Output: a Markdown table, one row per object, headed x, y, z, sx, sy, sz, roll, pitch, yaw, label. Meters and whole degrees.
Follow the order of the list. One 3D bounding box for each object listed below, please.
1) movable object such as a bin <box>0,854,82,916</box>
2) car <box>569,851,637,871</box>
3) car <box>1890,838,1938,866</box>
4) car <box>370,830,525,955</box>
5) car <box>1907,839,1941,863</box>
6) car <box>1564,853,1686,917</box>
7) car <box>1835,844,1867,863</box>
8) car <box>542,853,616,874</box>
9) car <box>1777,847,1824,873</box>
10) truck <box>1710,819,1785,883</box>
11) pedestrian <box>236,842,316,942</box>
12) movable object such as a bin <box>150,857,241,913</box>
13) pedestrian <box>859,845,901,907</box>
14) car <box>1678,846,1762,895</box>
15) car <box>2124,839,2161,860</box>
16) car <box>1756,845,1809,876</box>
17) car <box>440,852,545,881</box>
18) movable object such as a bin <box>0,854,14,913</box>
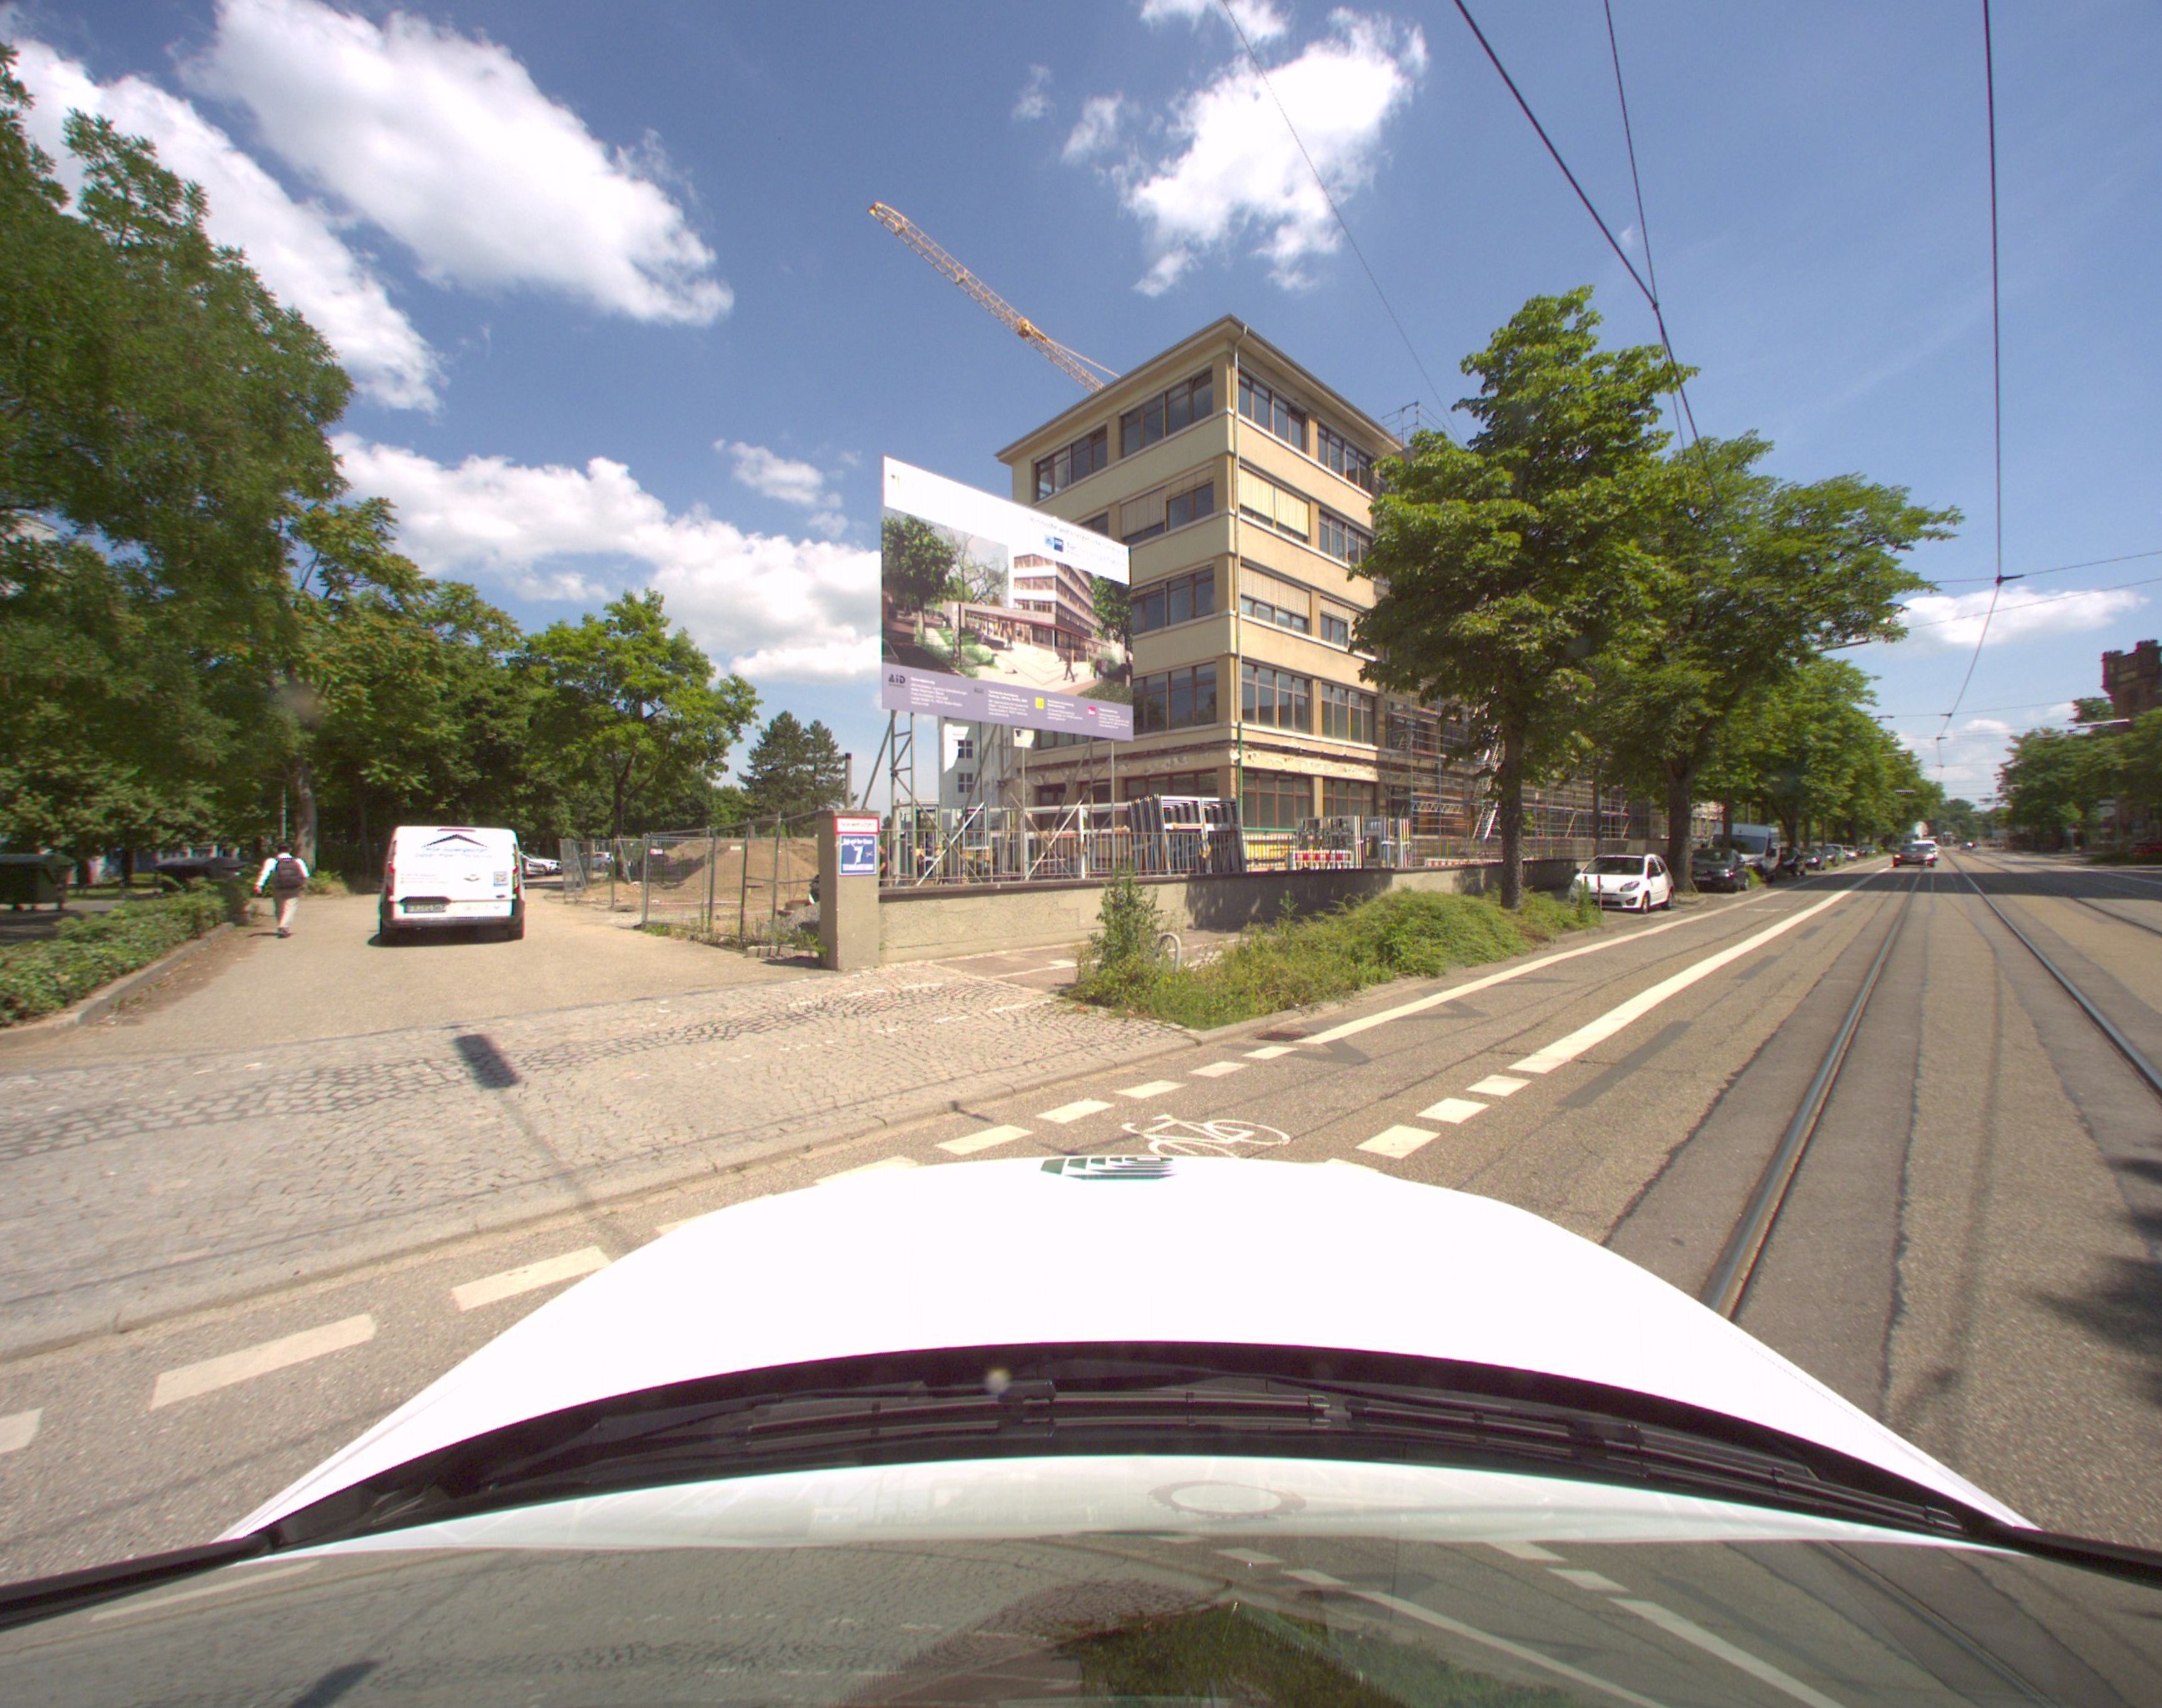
| x | y | z | sx | sy | sz | roll | pitch | yaw | label |
| --- | --- | --- | --- | --- | --- | --- | --- | --- | --- |
| -26.399 | 0.756 | 20.376 | 1.324 | 1.479 | 1.200 | 0 | 0 | -18 | movable object such as a bin |
| -39.867 | 0.567 | 68.072 | 4.514 | 1.598 | 1.926 | 0 | 0 | -16 | car |
| 52.395 | -0.132 | 51.218 | 4.022 | 1.689 | 1.976 | -1 | 0 | -42 | car |
| -11.743 | 0.597 | 15.070 | 1.989 | 1.947 | 4.528 | 0 | 0 | -40 | car |
| 73.771 | -0.288 | 71.252 | 4.022 | 2.013 | 1.976 | -1 | 0 | -43 | car |
| 13.765 | 0.717 | 20.550 | 3.601 | 1.440 | 1.604 | -1 | 0 | -39 | car |
| 66.955 | -0.090 | 70.833 | 4.023 | 1.574 | 1.805 | -1 | 1 | -43 | car |
| -38.571 | 0.718 | 62.624 | 4.515 | 1.597 | 1.716 | 0 | 1 | -16 | car |
| 42.707 | 0.322 | 48.304 | 1.975 | 1.486 | 4.024 | 0 | 1 | 43 | car |
| 28.115 | -0.145 | 34.280 | 2.001 | 2.485 | 5.907 | 0 | 1 | 44 | truck |
| -14.582 | 0.642 | 14.781 | 0.881 | 1.729 | 1.068 | 0 | 1 | -37 | pedestrian |
| -22.886 | 0.772 | 21.074 | 1.150 | 1.394 | 1.119 | 0 | 0 | 8 | movable object such as a bin |
| -6.023 | 0.629 | 24.398 | 0.971 | 1.819 | 0.861 | 0 | 0 | -34 | pedestrian |
| 22.732 | 0.526 | 28.902 | 1.975 | 1.607 | 4.024 | 1 | 1 | 43 | car |
| 75.107 | -0.326 | 55.854 | 3.950 | 1.486 | 2.012 | 0 | 1 | 25 | car |
| 35.365 | 0.275 | 41.022 | 1.975 | 1.456 | 4.025 | 0 | 1 | 42 | car |
| -34.650 | 0.742 | 48.087 | 4.513 | 1.609 | 1.989 | 0 | -2 | -15 | car |
| -27.705 | 0.758 | 20.066 | 1.363 | 1.479 | 1.087 | 0 | 0 | -26 | movable object such as a bin |
